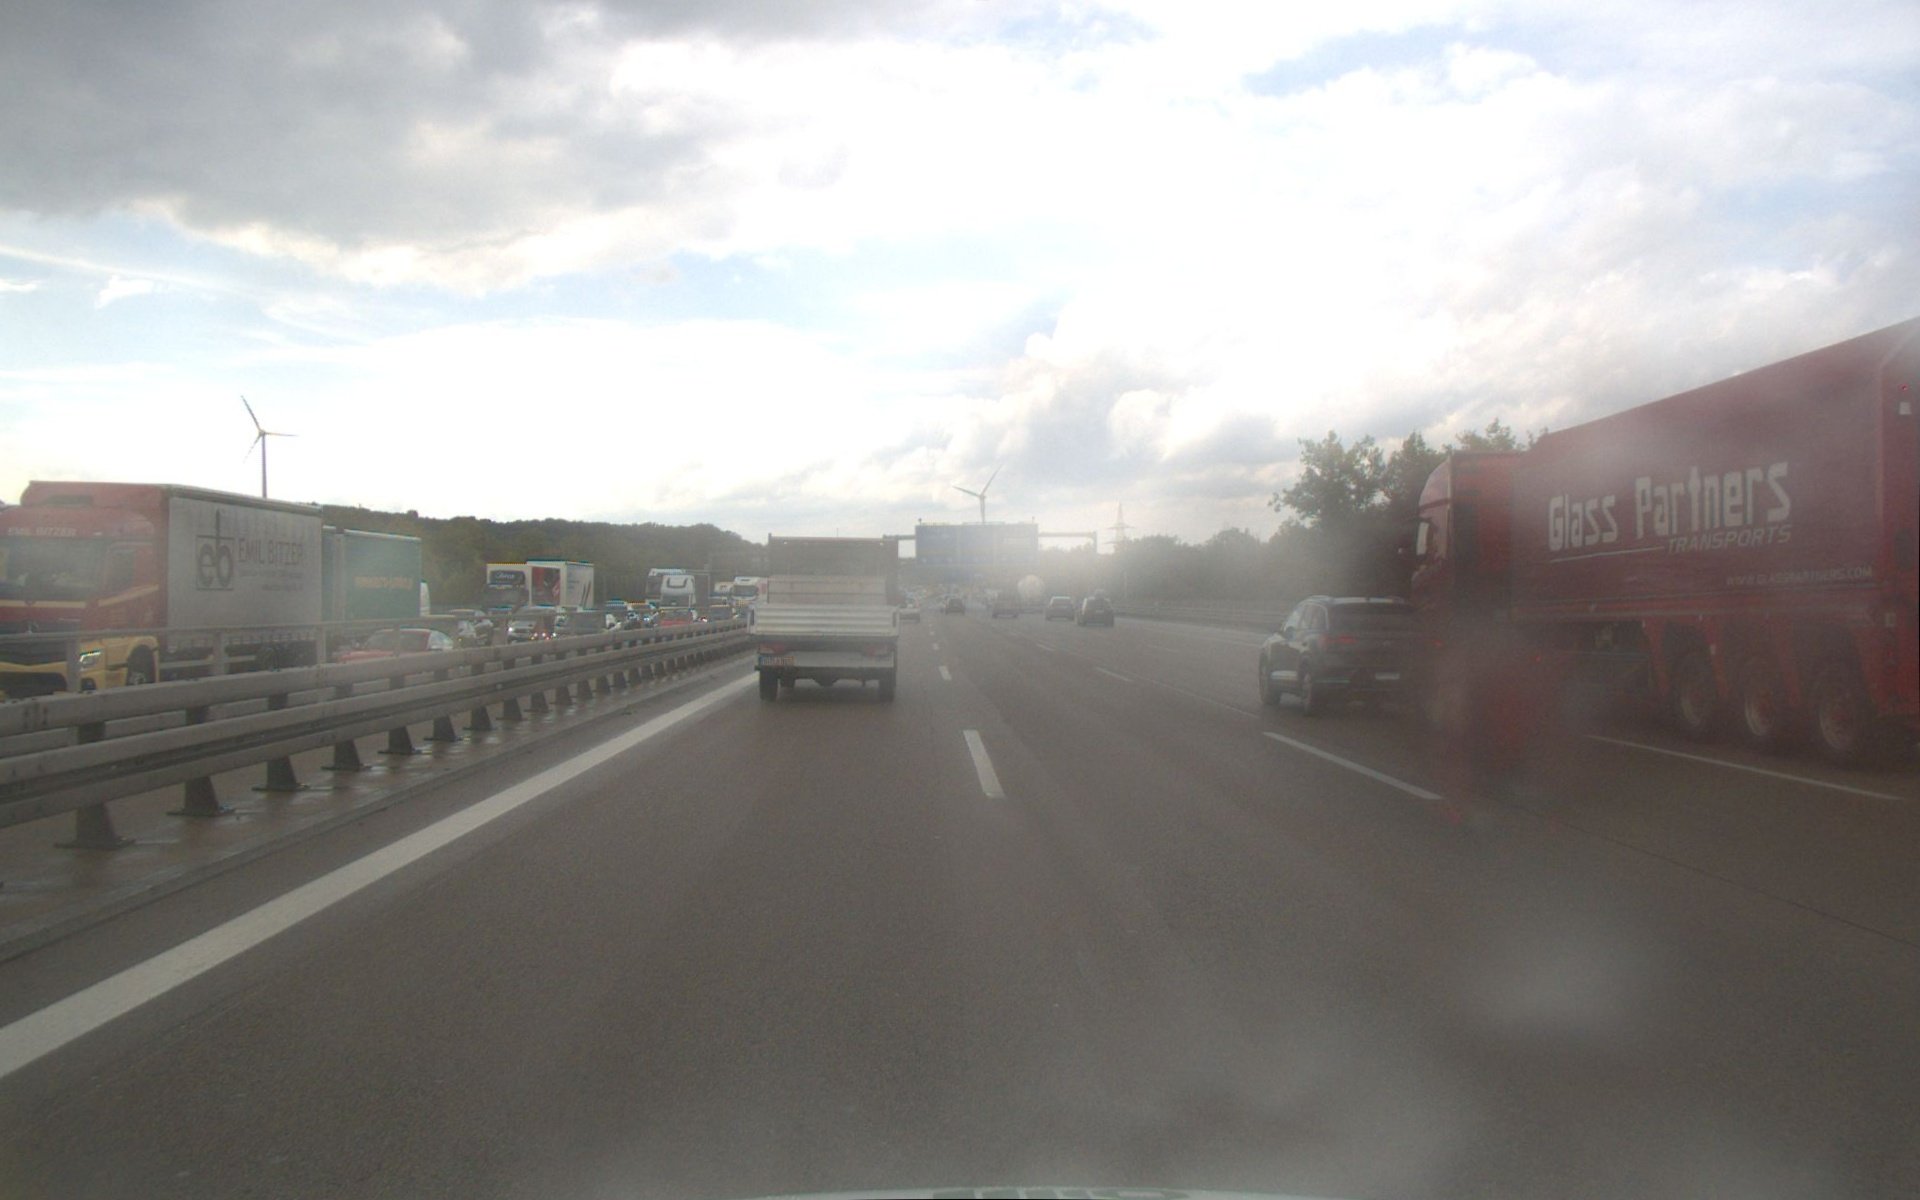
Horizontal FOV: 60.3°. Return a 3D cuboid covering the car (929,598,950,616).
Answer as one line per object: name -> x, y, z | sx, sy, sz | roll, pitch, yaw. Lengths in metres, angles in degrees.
car -> -2.029, 0.637, 163.289 | 1.933, 1.729, 3.997 | 0, 0, -4

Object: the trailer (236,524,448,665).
trailer -> -19.962, -0.181, 54.413 | 2.761, 4.132, 11.600 | 1, 0, -1

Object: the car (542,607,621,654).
car -> -12.739, 1.016, 55.927 | 1.794, 1.477, 3.999 | -1, 0, -1

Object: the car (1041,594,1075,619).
car -> 6.862, 0.442, 116.280 | 2.004, 1.729, 5.006 | 0, 0, -1

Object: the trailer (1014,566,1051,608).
trailer -> 7.567, -1.332, 174.513 | 3.264, 4.249, 11.837 | 1, 0, 0

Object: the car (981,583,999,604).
car -> 3.652, -0.774, 200.777 | 1.953, 2.424, 4.649 | -1, 0, -1

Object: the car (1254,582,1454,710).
car -> 5.247, 0.577, 22.504 | 1.756, 1.590, 3.720 | 0, 0, -2

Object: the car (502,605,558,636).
car -> -20.423, 0.951, 78.696 | 1.634, 1.377, 4.217 | -1, 0, -1

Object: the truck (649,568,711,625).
truck -> -17.606, -0.240, 104.439 | 2.468, 3.458, 8.539 | -1, 0, -1

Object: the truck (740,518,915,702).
truck -> -1.997, 0.109, 25.877 | 2.306, 2.450, 7.353 | 1, 0, -4

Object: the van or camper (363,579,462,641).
van or camper -> -24.544, 0.430, 74.540 | 2.198, 2.623, 7.361 | 0, 0, -2

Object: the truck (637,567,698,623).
truck -> -21.402, -0.365, 121.349 | 3.134, 4.002, 7.572 | 1, 0, -1

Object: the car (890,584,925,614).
car -> -3.060, -0.065, 97.159 | 2.003, 1.729, 4.000 | 0, 0, -1

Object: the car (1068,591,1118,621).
car -> 7.387, 0.304, 92.258 | 2.063, 1.634, 5.062 | 0, 0, -4

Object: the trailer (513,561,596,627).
trailer -> -25.815, -0.363, 105.799 | 3.153, 4.028, 8.848 | 1, 0, -1

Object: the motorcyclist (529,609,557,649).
motorcyclist -> -14.448, 0.988, 57.323 | 0.713, 1.365, 1.030 | -1, 0, -1

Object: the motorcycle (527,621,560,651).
motorcycle -> -14.447, 1.246, 57.431 | 0.719, 0.983, 1.789 | -1, 0, -1

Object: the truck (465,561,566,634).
truck -> -25.693, -0.150, 96.207 | 3.160, 3.978, 10.280 | 1, 0, -1

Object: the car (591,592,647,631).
car -> -16.398, 0.520, 79.741 | 1.685, 1.758, 5.103 | -1, 0, -1

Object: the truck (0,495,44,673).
truck -> -23.127, -0.332, 33.597 | 2.665, 4.051, 11.691 | -1, 0, -1

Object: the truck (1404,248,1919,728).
truck -> 9.567, -1.006, 21.677 | 3.088, 4.073, 15.634 | 0, 0, -1

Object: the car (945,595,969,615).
car -> -0.307, 0.432, 145.837 | 2.004, 1.729, 3.998 | 0, 0, -2

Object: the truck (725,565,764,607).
truck -> -22.277, -1.436, 171.149 | 3.113, 4.267, 7.736 | -1, 1, -1

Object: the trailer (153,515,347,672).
trailer -> -19.807, -0.179, 46.574 | 2.777, 4.099, 6.313 | 1, 0, -1

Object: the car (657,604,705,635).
car -> -12.960, 0.888, 77.104 | 1.541, 1.377, 4.383 | -1, 0, -1

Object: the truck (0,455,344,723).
truck -> -15.681, -0.184, 32.382 | 2.924, 4.221, 12.517 | -1, 0, -2

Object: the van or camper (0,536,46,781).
van or camper -> -10.997, 0.628, 14.397 | 2.232, 2.539, 7.300 | -1, 0, -2

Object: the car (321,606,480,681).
car -> -11.976, 0.876, 35.753 | 1.884, 1.443, 5.010 | -1, 0, -2

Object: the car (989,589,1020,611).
car -> 3.458, -0.015, 127.962 | 2.056, 1.729, 3.997 | 0, 0, -4

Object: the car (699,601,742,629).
car -> -13.726, 0.841, 94.949 | 1.684, 1.529, 5.501 | -1, 0, -1

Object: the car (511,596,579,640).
car -> -16.360, 0.672, 65.377 | 1.728, 1.653, 4.777 | -1, 0, -4

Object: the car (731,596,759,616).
car -> -18.407, 0.481, 141.869 | 1.784, 1.652, 4.697 | -1, 0, -1

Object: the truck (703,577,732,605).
truck -> -27.418, -1.037, 187.132 | 2.466, 3.038, 7.019 | -1, 0, -2
